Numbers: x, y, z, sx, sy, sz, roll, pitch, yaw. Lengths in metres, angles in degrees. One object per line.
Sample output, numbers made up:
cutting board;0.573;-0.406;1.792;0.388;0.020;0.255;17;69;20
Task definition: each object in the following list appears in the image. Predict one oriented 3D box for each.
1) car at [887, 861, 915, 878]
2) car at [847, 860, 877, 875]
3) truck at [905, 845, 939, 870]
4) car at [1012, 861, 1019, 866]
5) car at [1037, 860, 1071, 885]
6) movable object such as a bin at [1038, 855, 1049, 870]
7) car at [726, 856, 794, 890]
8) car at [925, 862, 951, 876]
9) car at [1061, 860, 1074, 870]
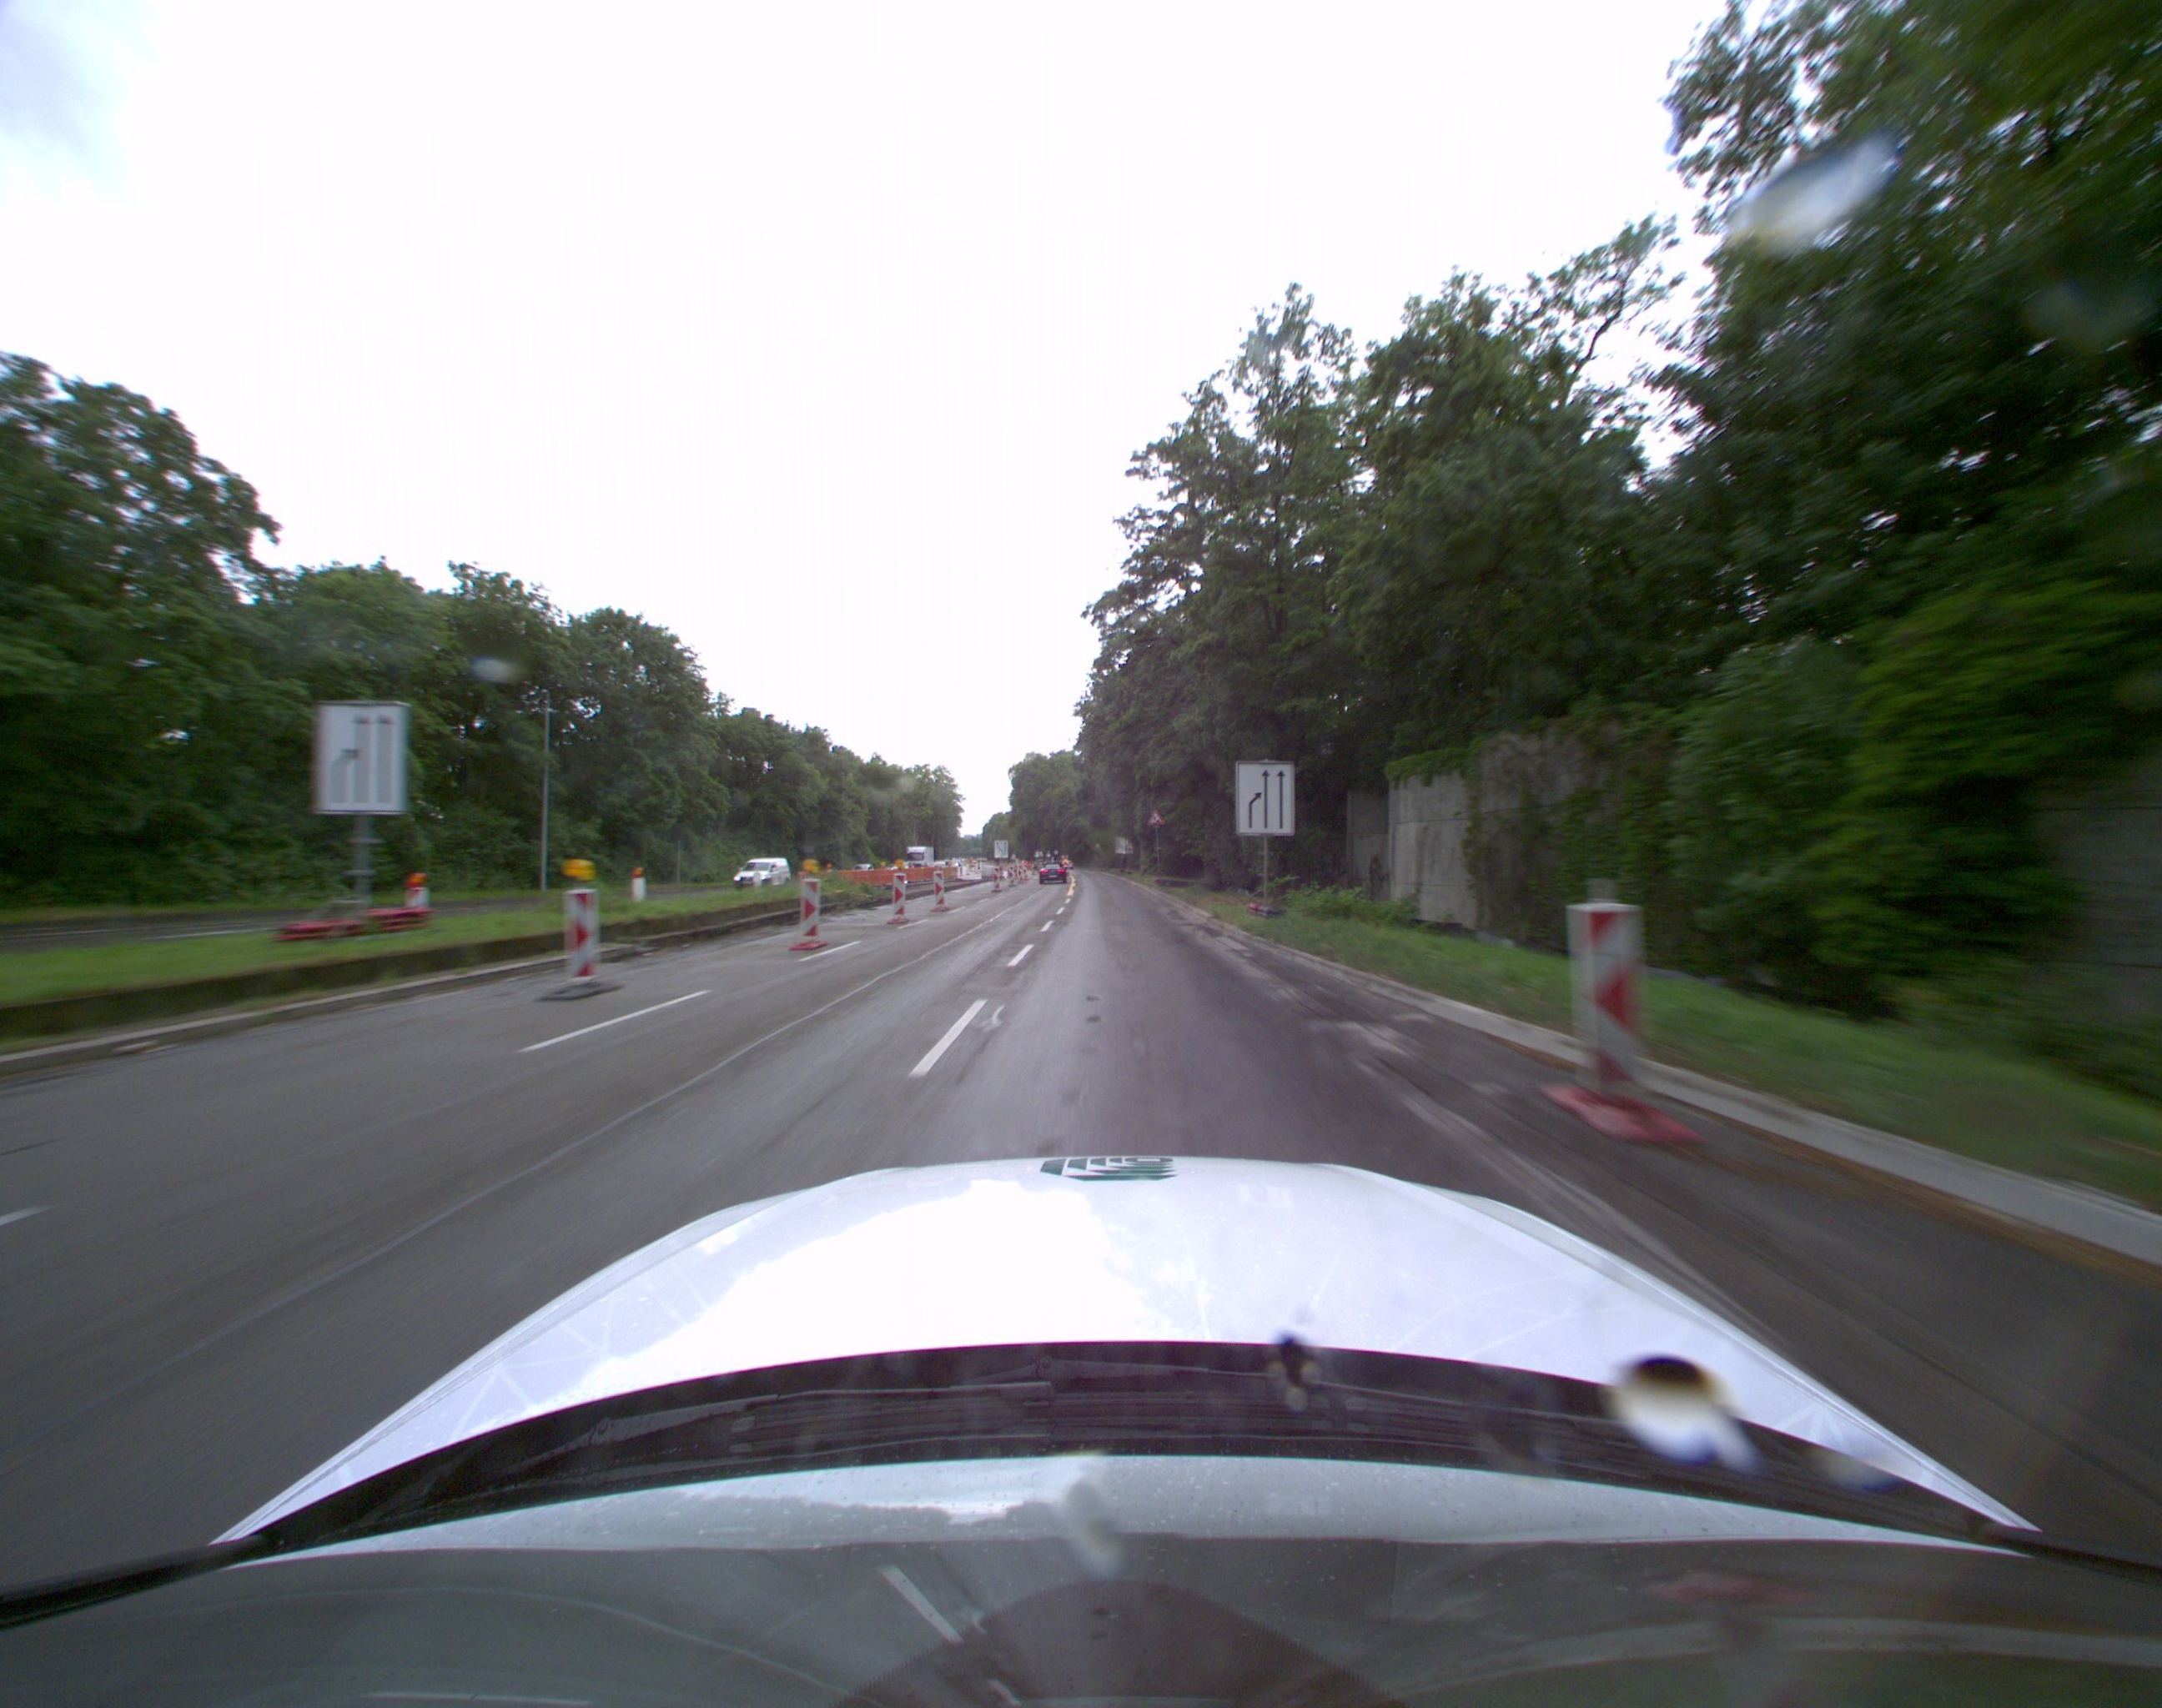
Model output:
car;-18.023;1.535;81.792;1.829;1.550;4.040;-1;-1;1
car;-20.696;1.274;77.164;1.785;1.425;3.896;-1;-1;1
truck;-21.252;0.523;109.356;2.787;3.148;10.142;0;-1;-1
car;-19.250;2.892;239.851;1.756;1.344;3.988;1;1;-9
car;-1.795;1.209;55.370;1.853;1.491;4.006;1;2;5
movable object such as a bin;-7.115;1.581;154.409;1.744;2.867;3.527;-1;-1;-5
car;-18.095;1.010;46.135;1.908;1.781;4.833;0;0;0
car;-15.072;1.567;85.845;1.849;1.486;4.679;0;0;1
car;-2.285;1.803;136.407;1.910;1.598;4.827;0;0;-4
